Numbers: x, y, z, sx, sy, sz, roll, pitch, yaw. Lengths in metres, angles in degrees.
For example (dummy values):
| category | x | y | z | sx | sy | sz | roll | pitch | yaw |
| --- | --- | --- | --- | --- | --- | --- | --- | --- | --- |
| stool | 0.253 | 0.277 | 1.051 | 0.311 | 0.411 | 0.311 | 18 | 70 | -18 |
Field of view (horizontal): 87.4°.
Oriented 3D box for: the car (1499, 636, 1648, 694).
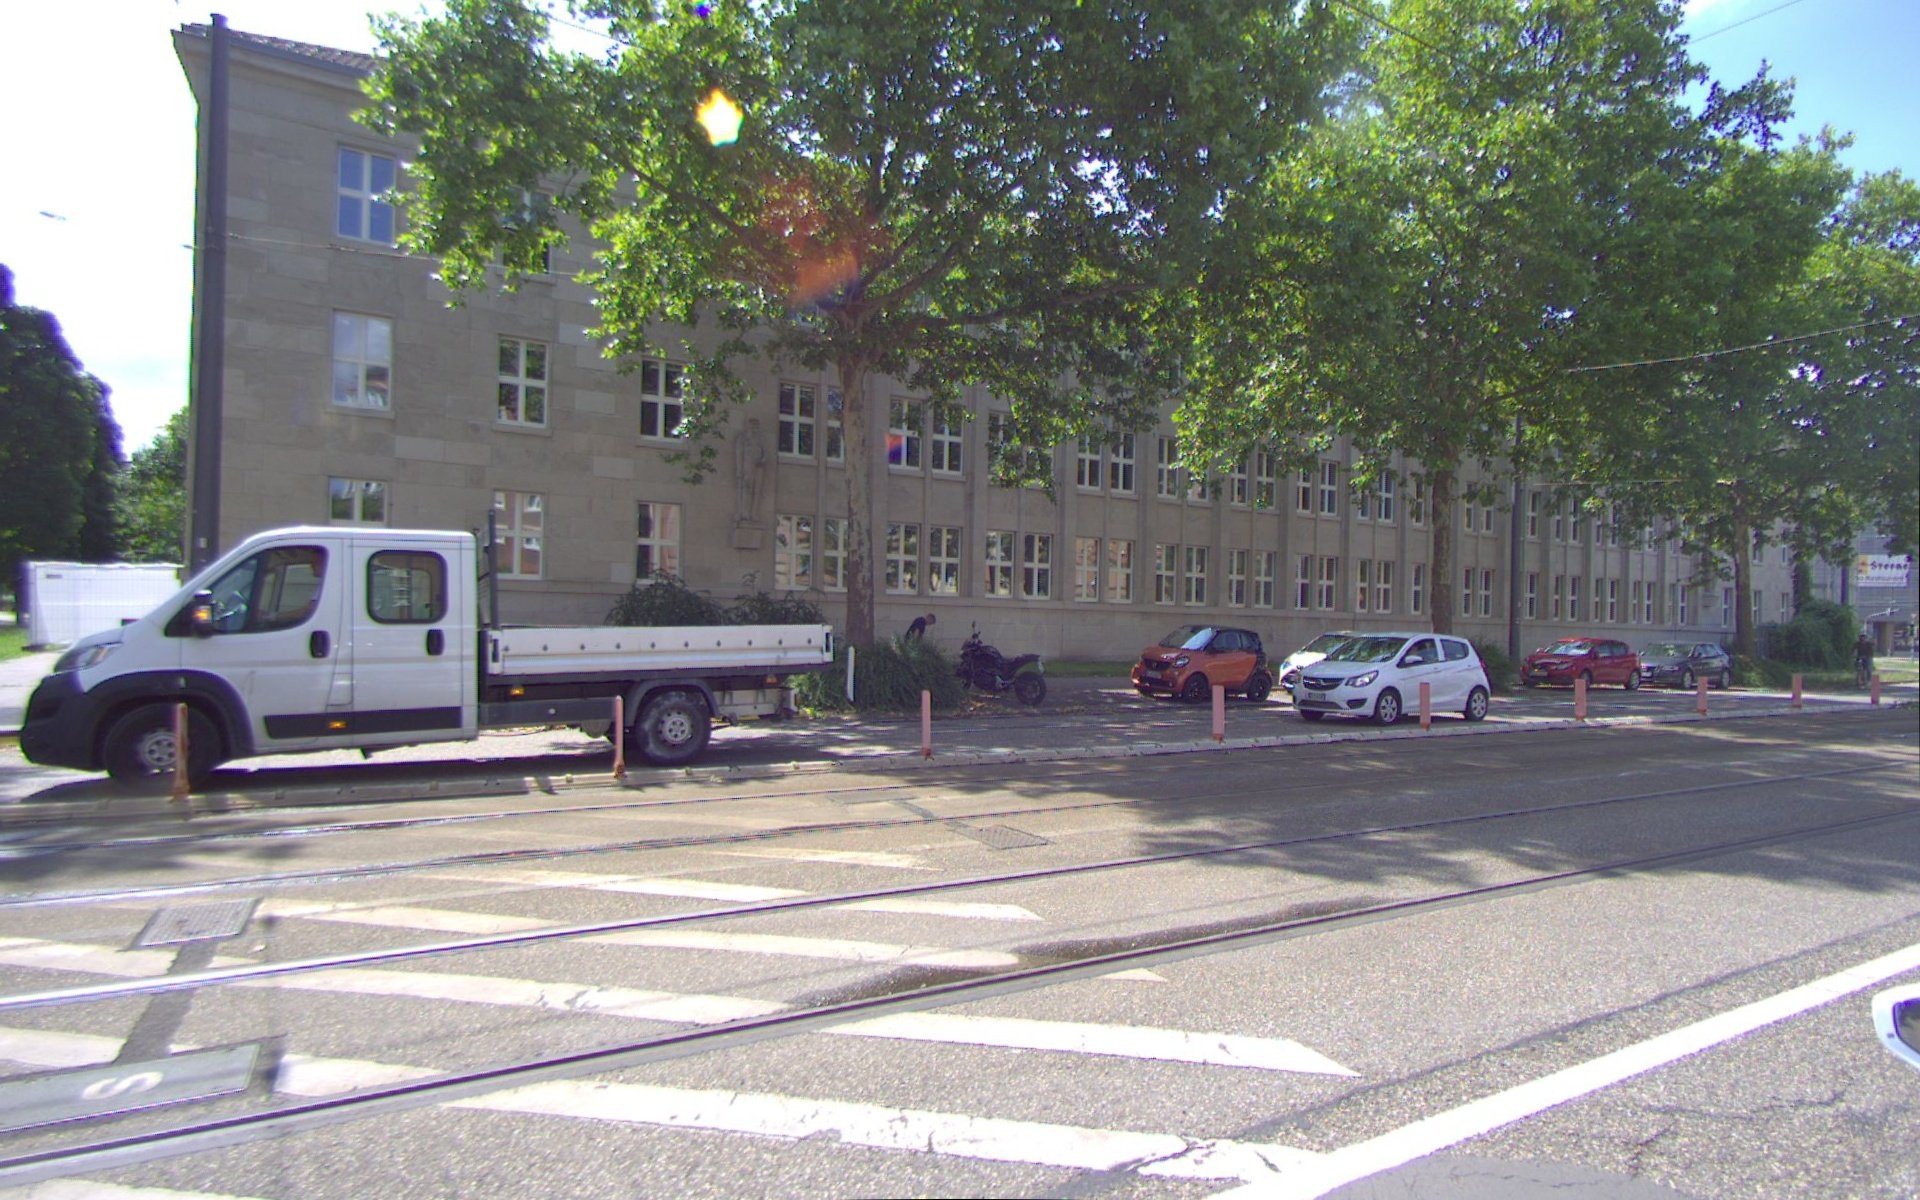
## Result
| category | x | y | z | sx | sy | sz | roll | pitch | yaw |
| --- | --- | --- | --- | --- | --- | --- | --- | --- | --- |
| car | 17.493 | 1.822 | 28.616 | 4.002 | 1.439 | 1.917 | 2 | 1 | -30 |

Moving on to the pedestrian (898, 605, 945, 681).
| category | x | y | z | sx | sy | sz | roll | pitch | yaw |
| --- | --- | --- | --- | --- | --- | --- | --- | --- | --- |
| pedestrian | -0.839 | 0.945 | 21.924 | 0.786 | 1.612 | 0.551 | 2 | 0 | -31 |

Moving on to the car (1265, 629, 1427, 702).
| category | x | y | z | sx | sy | sz | roll | pitch | yaw |
| --- | --- | --- | --- | --- | --- | --- | --- | --- | --- |
| car | 8.947 | 1.482 | 23.244 | 3.452 | 1.473 | 1.737 | 2 | 1 | -32 |

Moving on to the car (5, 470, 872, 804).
| category | x | y | z | sx | sy | sz | roll | pitch | yaw |
| --- | --- | --- | --- | --- | --- | --- | --- | --- | --- |
| car | -4.466 | 0.399 | 10.019 | 6.902 | 2.405 | 2.244 | 2 | -3 | -32 |

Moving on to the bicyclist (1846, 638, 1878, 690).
| category | x | y | z | sx | sy | sz | roll | pitch | yaw |
| --- | --- | --- | --- | --- | --- | --- | --- | --- | --- |
| bicyclist | 31.112 | 2.189 | 34.656 | 0.753 | 1.727 | 0.779 | 3 | 0 | 43 |

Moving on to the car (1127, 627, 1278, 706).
| category | x | y | z | sx | sy | sz | roll | pitch | yaw |
| --- | --- | --- | --- | --- | --- | --- | --- | --- | --- |
| car | 5.098 | 1.360 | 21.059 | 2.851 | 1.473 | 1.478 | 2 | 1 | -32 |

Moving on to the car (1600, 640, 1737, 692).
| category | x | y | z | sx | sy | sz | roll | pitch | yaw |
| --- | --- | --- | --- | --- | --- | --- | --- | --- | --- |
| car | 21.866 | 1.997 | 30.959 | 4.269 | 1.387 | 1.916 | 2 | 1 | -32 |

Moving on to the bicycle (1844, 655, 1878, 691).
| category | x | y | z | sx | sy | sz | roll | pitch | yaw |
| --- | --- | --- | --- | --- | --- | --- | --- | --- | --- |
| bicycle | 30.989 | 2.482 | 34.539 | 0.782 | 1.124 | 2.263 | 3 | 0 | 44 |

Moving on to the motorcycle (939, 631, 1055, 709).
| category | x | y | z | sx | sy | sz | roll | pitch | yaw |
| --- | --- | --- | --- | --- | --- | --- | --- | --- | --- |
| motorcycle | 0.677 | 1.279 | 18.709 | 2.067 | 1.192 | 0.544 | 4 | 5 | 23 |

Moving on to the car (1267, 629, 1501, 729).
| category | x | y | z | sx | sy | sz | roll | pitch | yaw |
| --- | --- | --- | --- | --- | --- | --- | --- | --- | --- |
| car | 7.117 | 1.262 | 16.824 | 3.744 | 1.499 | 1.752 | 2 | -3 | -31 |
